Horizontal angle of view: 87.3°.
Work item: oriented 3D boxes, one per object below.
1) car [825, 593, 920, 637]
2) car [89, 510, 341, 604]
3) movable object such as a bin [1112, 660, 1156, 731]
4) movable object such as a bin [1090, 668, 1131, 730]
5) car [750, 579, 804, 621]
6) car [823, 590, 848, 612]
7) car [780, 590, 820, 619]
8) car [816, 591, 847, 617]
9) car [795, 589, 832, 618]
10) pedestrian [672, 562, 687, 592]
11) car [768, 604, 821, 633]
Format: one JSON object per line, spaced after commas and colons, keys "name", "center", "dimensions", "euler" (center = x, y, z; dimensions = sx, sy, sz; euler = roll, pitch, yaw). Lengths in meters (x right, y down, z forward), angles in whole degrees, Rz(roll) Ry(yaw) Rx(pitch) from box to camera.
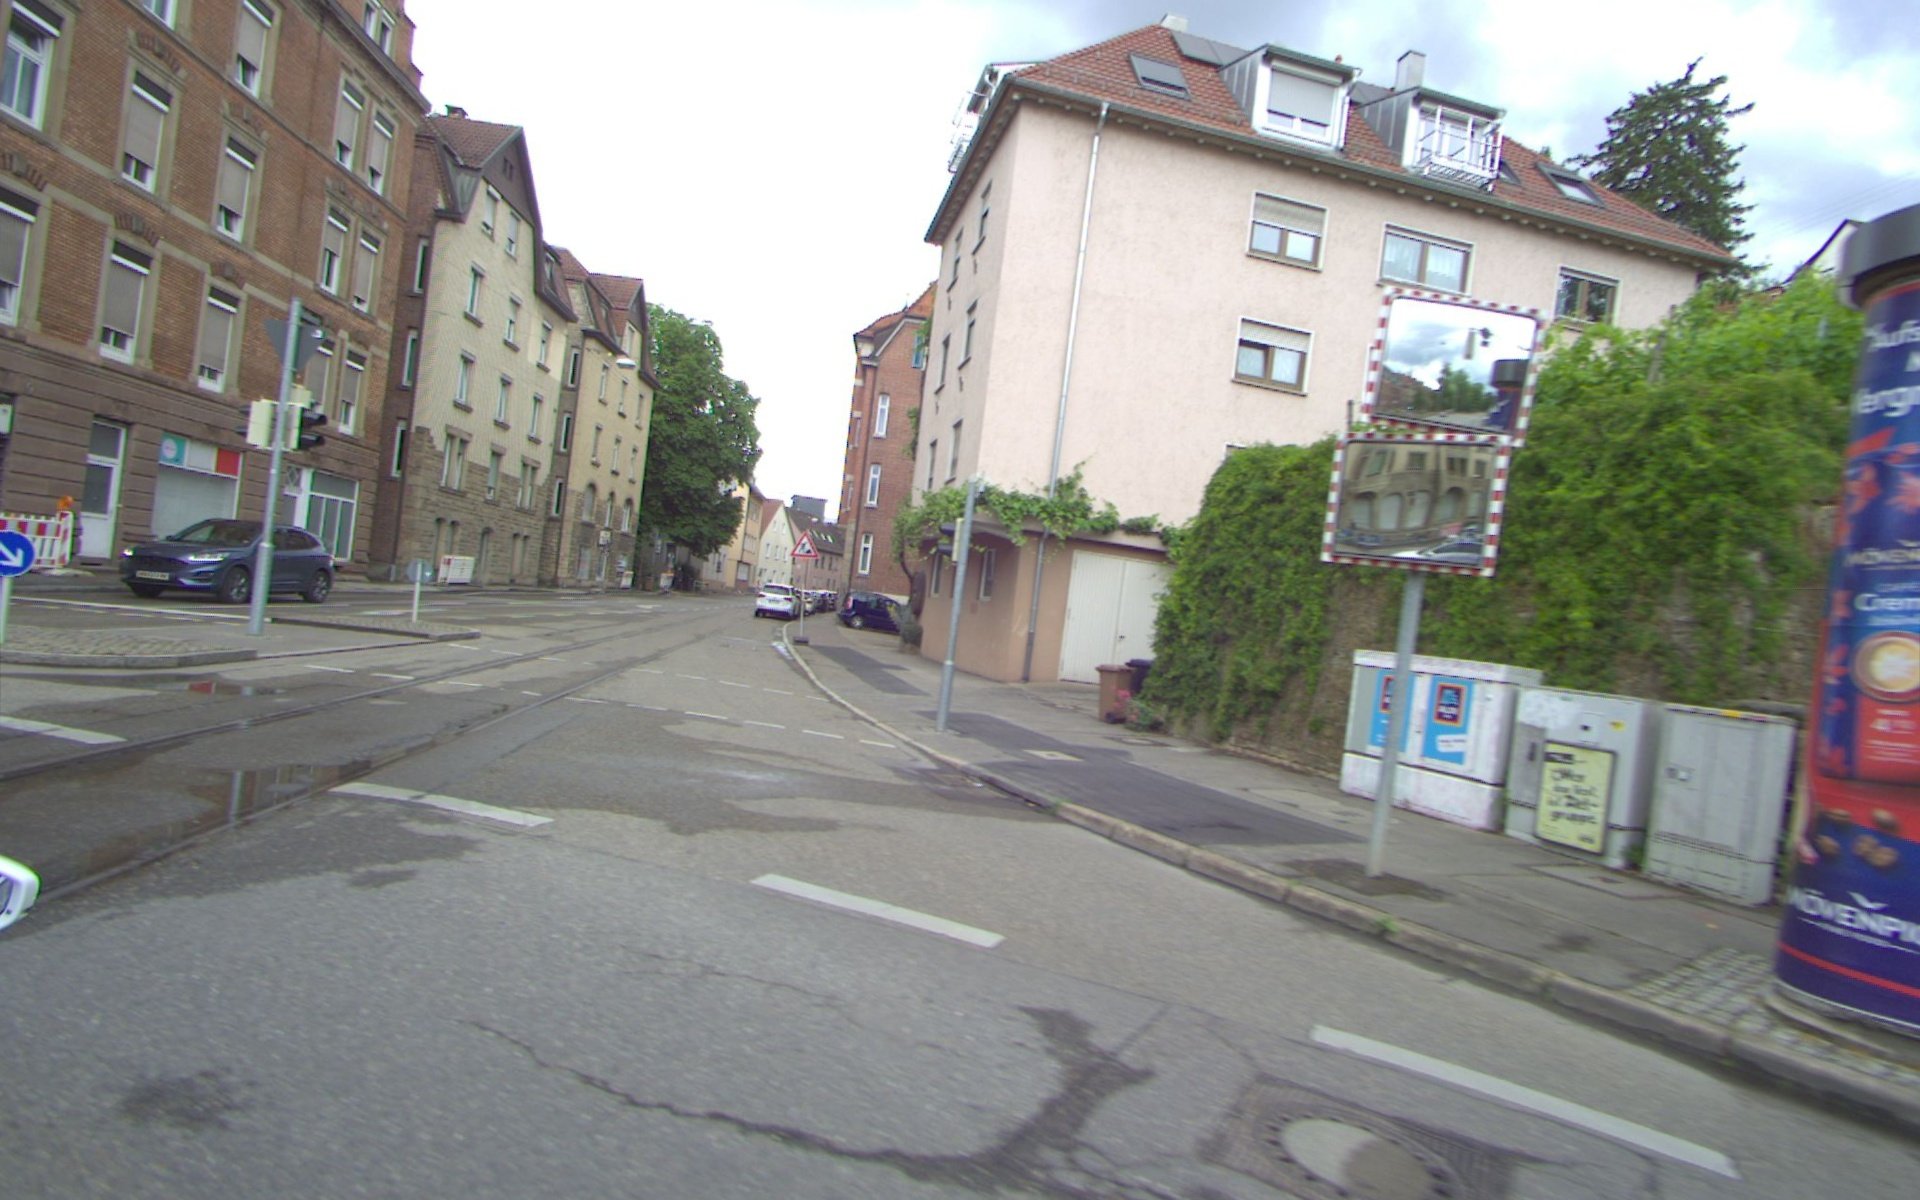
{"name": "car", "center": [-3.909, 0.661, 44.894], "dimensions": [3.861, 1.571, 1.866], "euler": [6, 0, -15]}
{"name": "car", "center": [-14.837, -0.780, 20.392], "dimensions": [1.963, 1.534, 4.283], "euler": [5, 0, -3]}
{"name": "movable object such as a bin", "center": [2.844, 1.555, 16.425], "dimensions": [0.403, 1.095, 0.469], "euler": [7, -1, -28]}
{"name": "movable object such as a bin", "center": [2.426, 1.587, 16.210], "dimensions": [0.341, 0.922, 0.492], "euler": [7, -2, -28]}
{"name": "car", "center": [-8.664, 0.035, 47.934], "dimensions": [1.920, 1.739, 3.998], "euler": [5, -1, -4]}
{"name": "car", "center": [-11.116, 0.117, 89.899], "dimensions": [1.878, 1.664, 3.948], "euler": [7, 0, -4]}
{"name": "car", "center": [-9.298, 0.261, 58.818], "dimensions": [1.782, 1.480, 3.999], "euler": [5, -1, -3]}
{"name": "car", "center": [-10.272, 0.370, 80.829], "dimensions": [1.963, 1.860, 3.999], "euler": [5, -1, -2]}
{"name": "car", "center": [-10.217, 0.232, 70.350], "dimensions": [1.934, 1.684, 3.818], "euler": [8, 0, -2]}
{"name": "pedestrian", "center": [-20.121, -1.641, 72.200], "dimensions": [0.753, 2.039, 0.753], "euler": [5, 0, -6]}
{"name": "car", "center": [-8.692, 0.974, 53.196], "dimensions": [1.962, 1.304, 4.001], "euler": [4, -1, 2]}
